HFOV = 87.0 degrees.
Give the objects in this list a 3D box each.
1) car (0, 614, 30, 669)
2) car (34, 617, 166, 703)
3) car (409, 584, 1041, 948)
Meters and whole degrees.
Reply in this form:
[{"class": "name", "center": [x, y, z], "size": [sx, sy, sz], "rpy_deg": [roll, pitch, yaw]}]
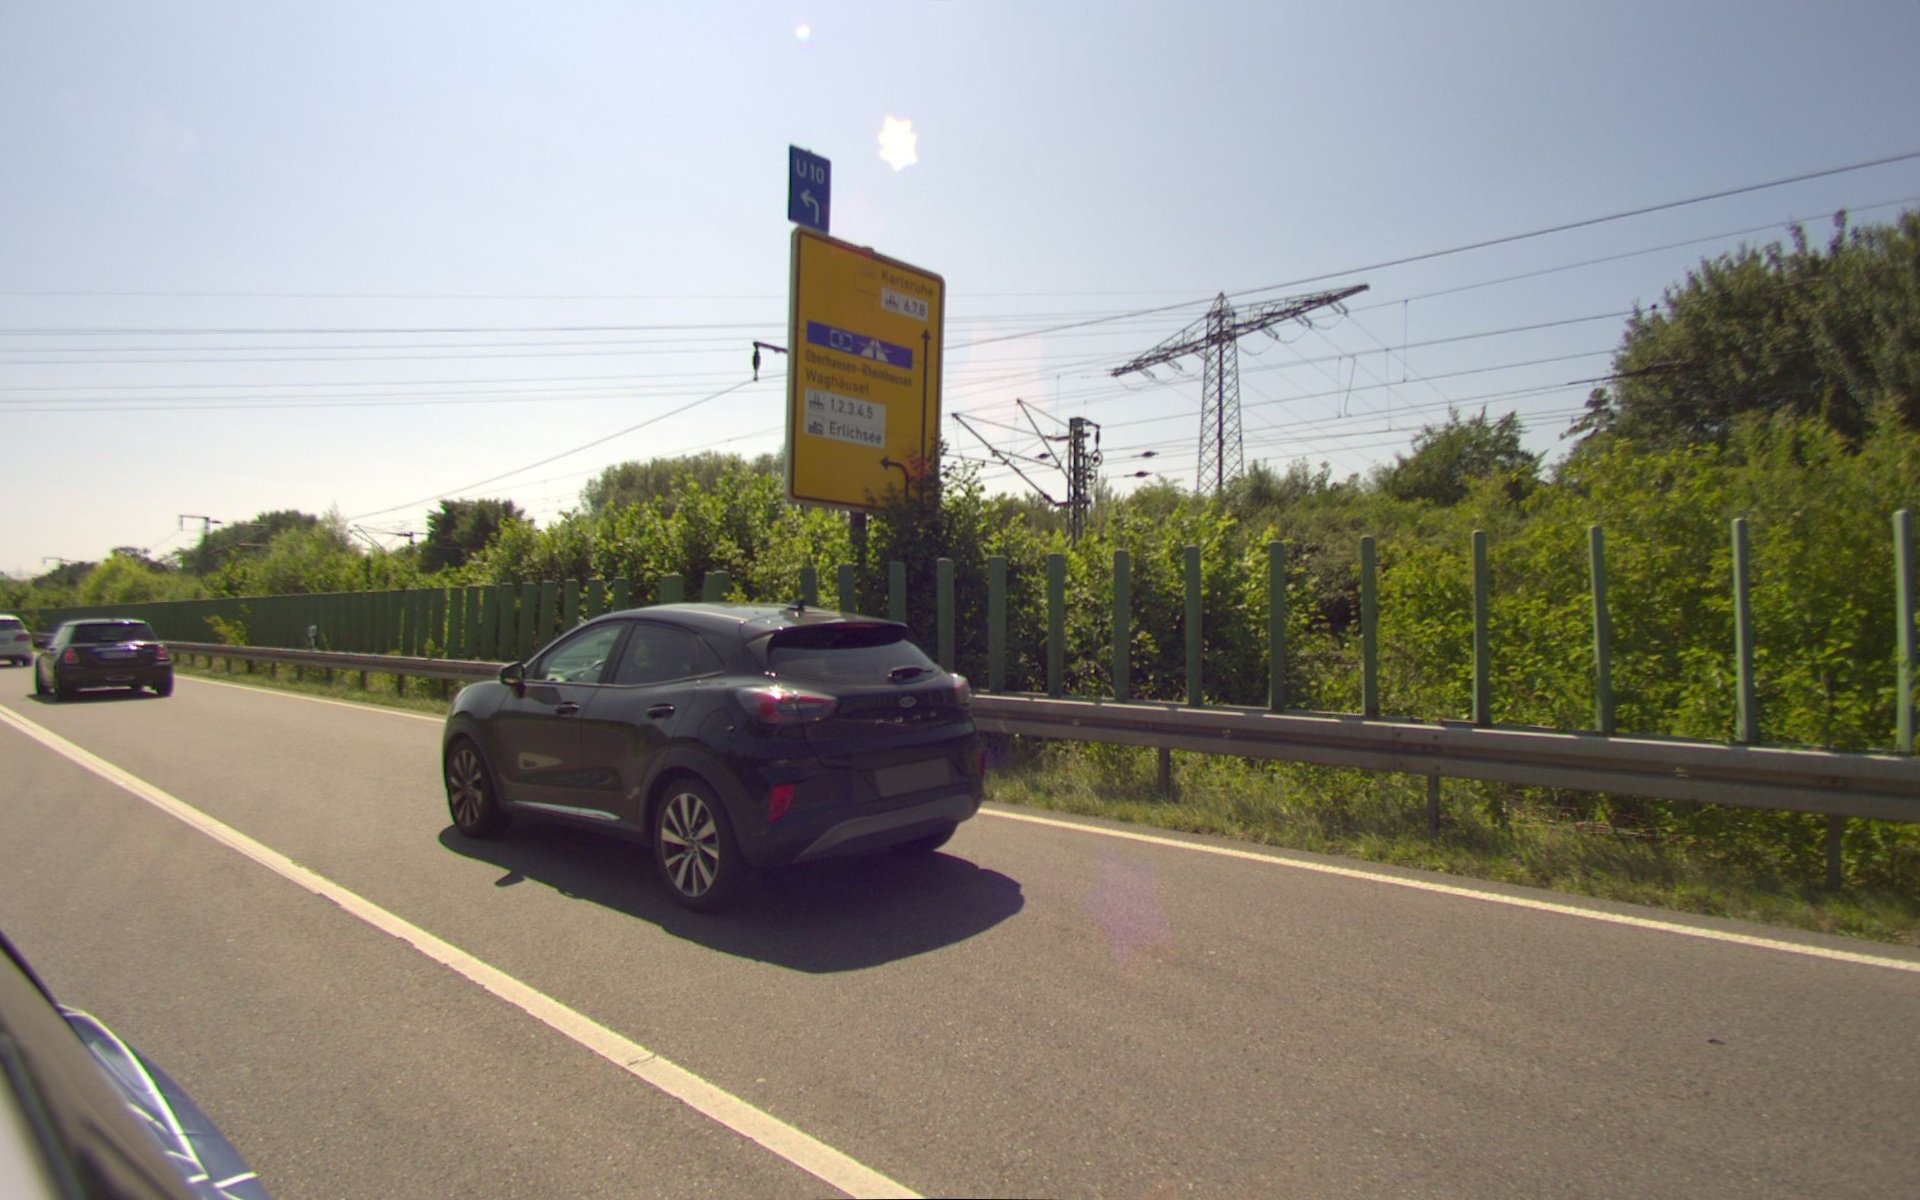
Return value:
[{"class": "car", "center": [-30.019, 1.259, 31.040], "size": [4.322, 1.617, 1.805], "rpy_deg": [-1, -1, 42]}, {"class": "car", "center": [-16.341, 1.066, 19.174], "size": [3.742, 1.446, 1.490], "rpy_deg": [-1, -1, 43]}, {"class": "car", "center": [-1.712, 0.734, 6.297], "size": [4.287, 1.526, 1.655], "rpy_deg": [-1, -1, 41]}]
